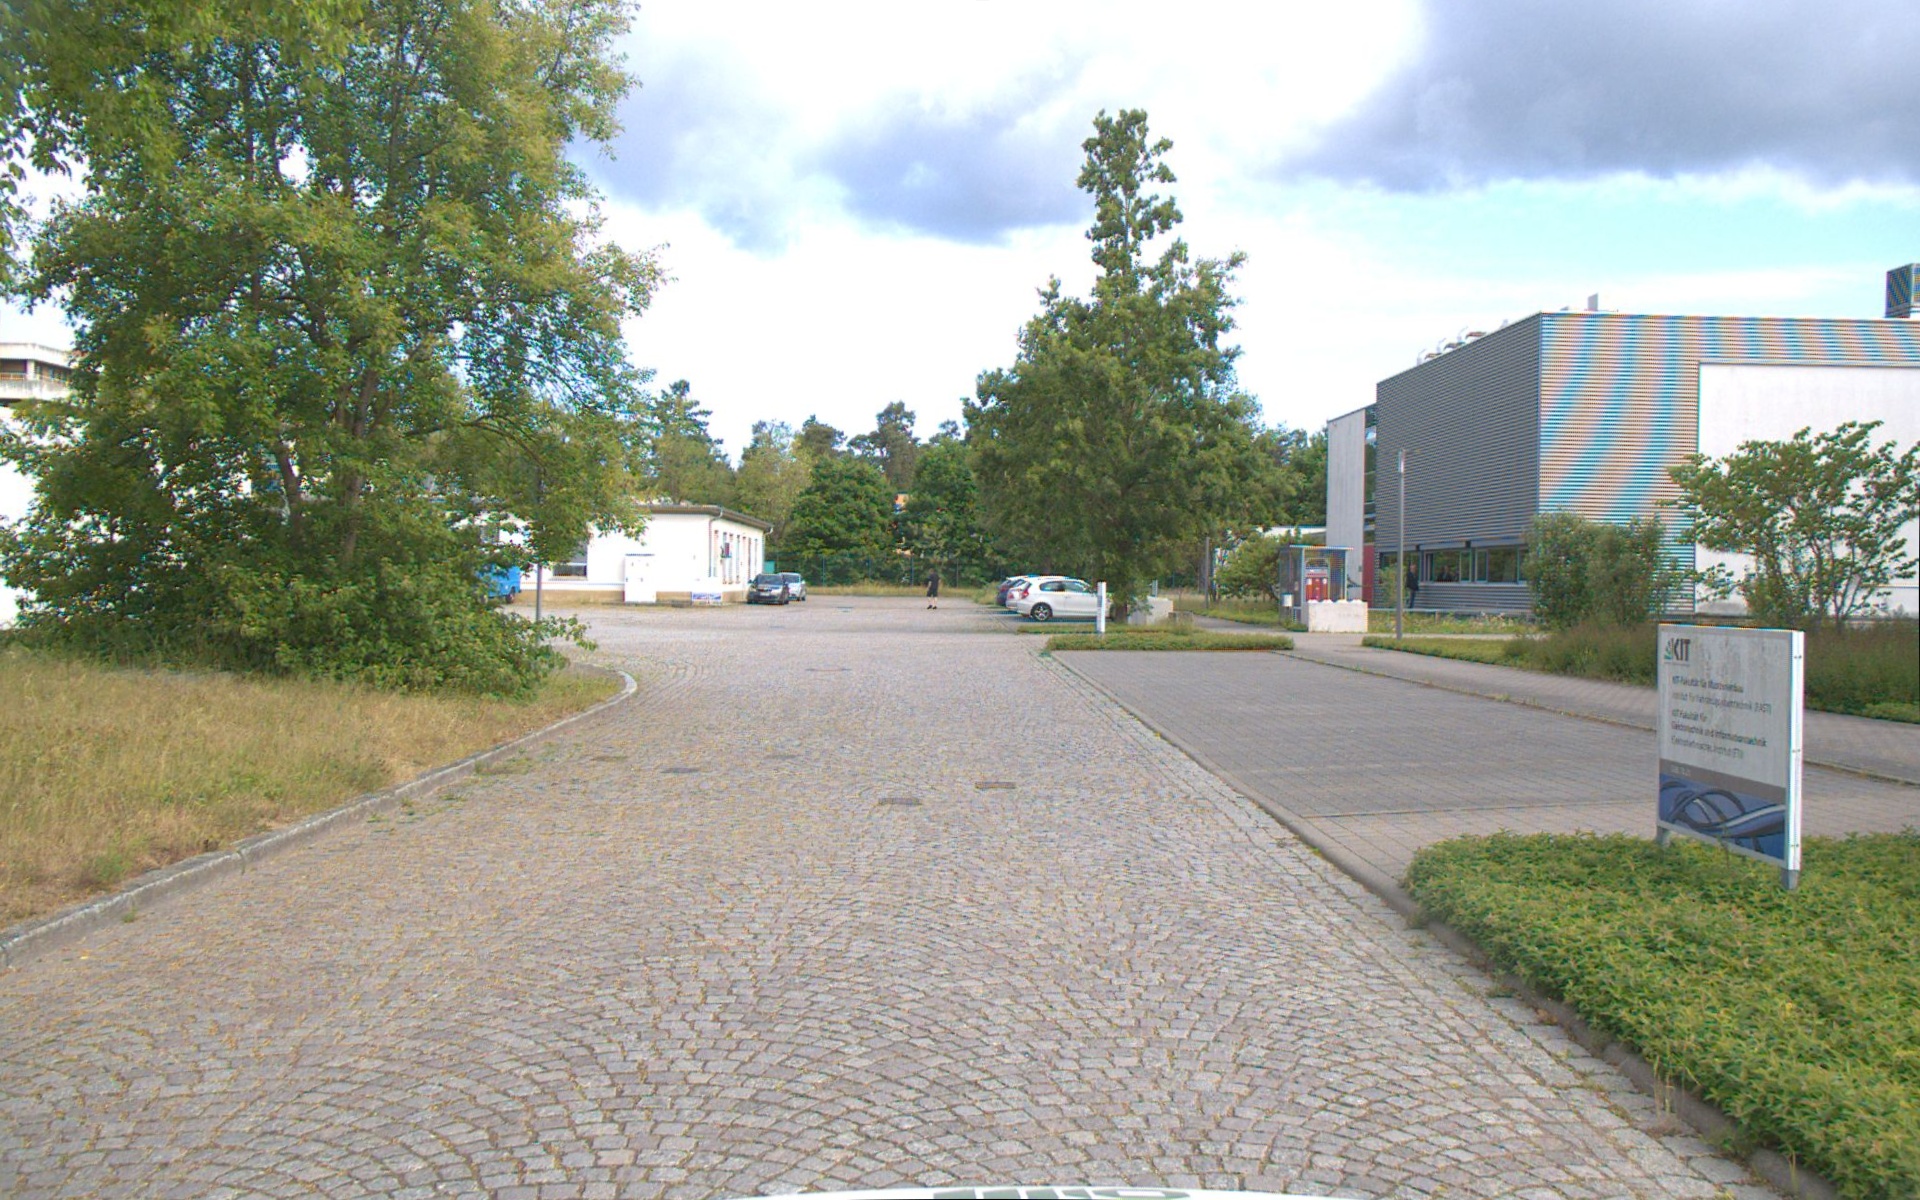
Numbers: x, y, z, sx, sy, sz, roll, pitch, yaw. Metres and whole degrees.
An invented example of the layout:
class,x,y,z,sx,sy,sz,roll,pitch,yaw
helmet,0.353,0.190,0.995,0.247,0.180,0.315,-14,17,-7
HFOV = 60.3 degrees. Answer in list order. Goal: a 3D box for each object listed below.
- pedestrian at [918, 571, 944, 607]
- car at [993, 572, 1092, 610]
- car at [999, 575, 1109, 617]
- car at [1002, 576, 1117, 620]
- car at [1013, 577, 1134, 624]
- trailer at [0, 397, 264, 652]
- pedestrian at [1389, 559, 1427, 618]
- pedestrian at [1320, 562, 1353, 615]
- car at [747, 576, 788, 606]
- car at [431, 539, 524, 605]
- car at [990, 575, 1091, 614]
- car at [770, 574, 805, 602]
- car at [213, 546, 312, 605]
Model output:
class,x,y,z,sx,sy,sz,roll,pitch,yaw
pedestrian,-1.311,-0.491,75.048,0.925,1.595,0.966,0,0,-19
car,3.415,-0.379,69.043,3.909,1.560,1.998,0,1,-5
car,3.441,-0.145,60.925,3.906,1.481,1.769,0,1,-1
car,3.448,-0.092,57.885,3.906,1.481,1.697,0,1,-1
car,3.782,0.012,55.724,3.906,1.481,2.000,1,0,-1
trailer,-15.480,-1.174,28.056,2.602,3.770,10.723,0,1,1
pedestrian,15.292,-0.390,56.421,0.908,1.970,0.846,1,0,-32
pedestrian,14.700,-0.450,64.649,0.903,2.049,1.145,0,0,-7
car,-9.215,-0.466,79.373,1.714,1.387,3.997,0,1,-4
car,-19.632,-1.136,67.516,1.952,2.567,5.619,0,1,2
car,3.162,-0.216,65.822,3.906,1.481,1.769,0,1,-1
car,-9.314,-0.654,89.603,1.714,1.480,3.997,0,1,-4
car,-27.990,-0.985,66.529,1.861,2.245,4.784,0,1,1
